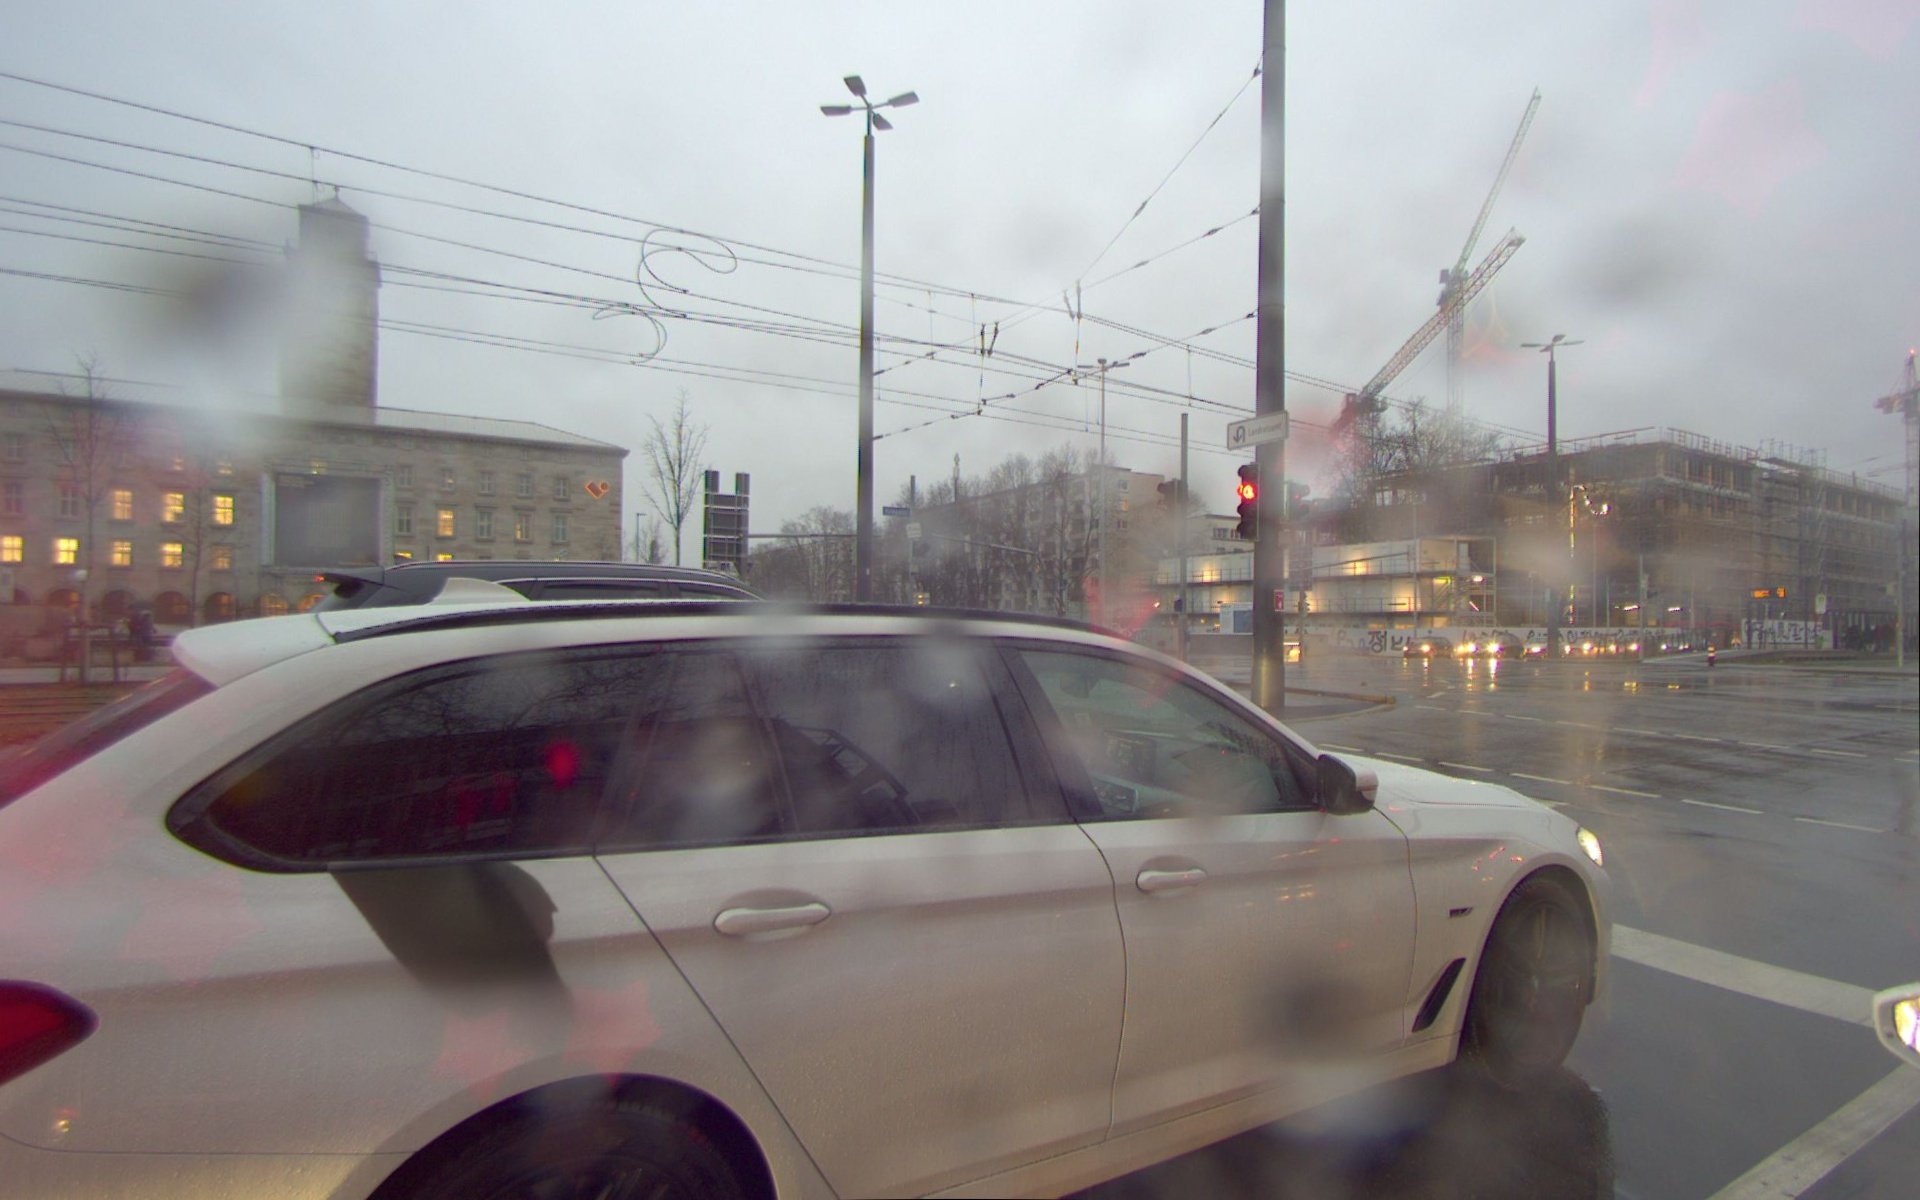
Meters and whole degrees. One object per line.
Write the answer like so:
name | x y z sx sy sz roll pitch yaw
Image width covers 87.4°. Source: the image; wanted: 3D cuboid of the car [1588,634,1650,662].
car | 45.713 3.340 69.664 3.953 1.814 1.984 2 0 -30

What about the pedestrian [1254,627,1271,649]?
pedestrian | 19.650 2.480 65.192 0.716 1.407 0.725 2 0 -29

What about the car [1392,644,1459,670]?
car | 29.473 3.575 63.632 3.953 1.550 1.984 2 -2 -30

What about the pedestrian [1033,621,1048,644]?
pedestrian | 7.035 2.866 87.708 0.810 1.959 0.916 2 0 -36

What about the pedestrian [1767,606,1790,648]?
pedestrian | 47.237 1.570 57.945 0.754 2.354 0.761 3 -1 -30

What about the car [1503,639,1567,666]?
car | 35.900 3.250 62.678 4.577 1.550 2.059 2 -2 -40

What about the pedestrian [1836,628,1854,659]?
pedestrian | 54.460 2.663 61.816 0.547 1.906 0.695 2 0 -30

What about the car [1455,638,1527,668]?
car | 31.269 3.103 59.150 3.953 1.679 1.984 2 -2 -30

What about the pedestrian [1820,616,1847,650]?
pedestrian | 53.420 1.997 61.428 1.082 2.040 0.937 2 0 -32

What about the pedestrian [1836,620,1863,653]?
pedestrian | 55.463 2.260 62.660 1.081 2.040 0.937 2 0 -30

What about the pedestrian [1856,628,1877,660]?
pedestrian | 56.635 2.762 62.740 0.754 1.922 0.761 3 -1 -30

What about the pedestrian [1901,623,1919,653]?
pedestrian | 66.147 2.619 69.788 1.084 2.040 0.935 2 0 -38

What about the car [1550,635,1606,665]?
car | 41.027 3.308 66.637 3.963 1.852 1.852 2 0 -37

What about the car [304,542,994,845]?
car | -2.073 0.568 7.227 4.238 1.605 1.958 2 -1 -29

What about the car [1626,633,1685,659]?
car | 50.316 3.321 72.671 3.953 1.814 1.984 2 0 -30

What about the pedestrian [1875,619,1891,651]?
pedestrian | 57.958 2.199 63.077 0.659 1.994 0.566 2 1 -36

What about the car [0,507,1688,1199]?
car | 0.015 0.708 3.075 4.508 1.506 2.007 2 -2 -31

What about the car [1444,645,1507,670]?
car | 34.625 3.854 67.471 3.953 1.550 1.984 2 -2 -30
